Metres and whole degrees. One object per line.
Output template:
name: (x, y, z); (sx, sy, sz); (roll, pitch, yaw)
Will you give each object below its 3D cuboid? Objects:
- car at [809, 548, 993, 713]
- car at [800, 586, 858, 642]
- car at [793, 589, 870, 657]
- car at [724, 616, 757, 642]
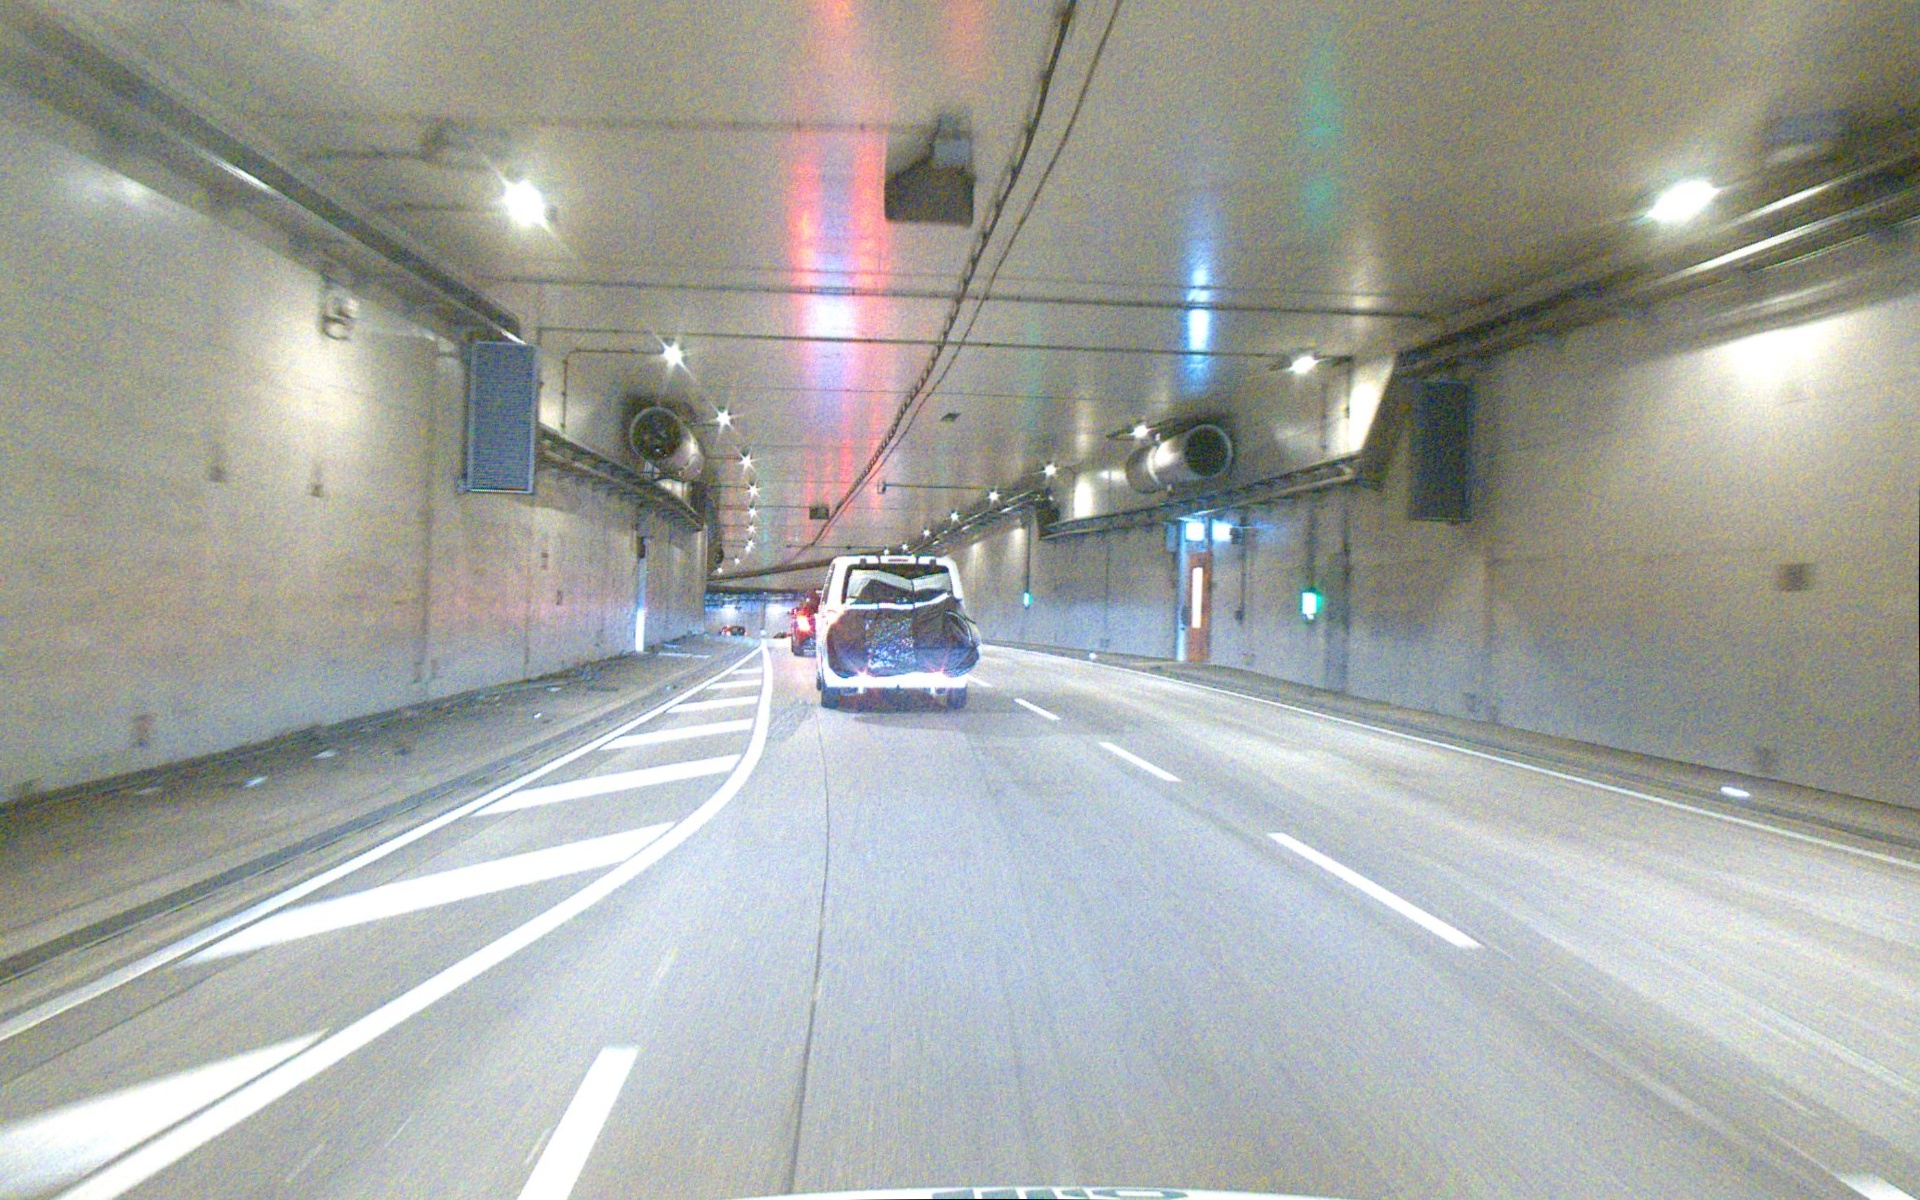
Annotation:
car: (-0.908, 0.345, 21.559); (1.955, 1.879, 5.293); (1, 0, -7)
car: (-3.940, 0.430, 49.374); (1.572, 1.622, 3.349); (0, -1, -8)
car: (-2.930, 0.495, 37.295); (1.572, 1.420, 3.272); (2, 0, -7)
car: (-14.838, 1.969, 111.668); (1.791, 1.659, 3.831); (3, -2, -12)
